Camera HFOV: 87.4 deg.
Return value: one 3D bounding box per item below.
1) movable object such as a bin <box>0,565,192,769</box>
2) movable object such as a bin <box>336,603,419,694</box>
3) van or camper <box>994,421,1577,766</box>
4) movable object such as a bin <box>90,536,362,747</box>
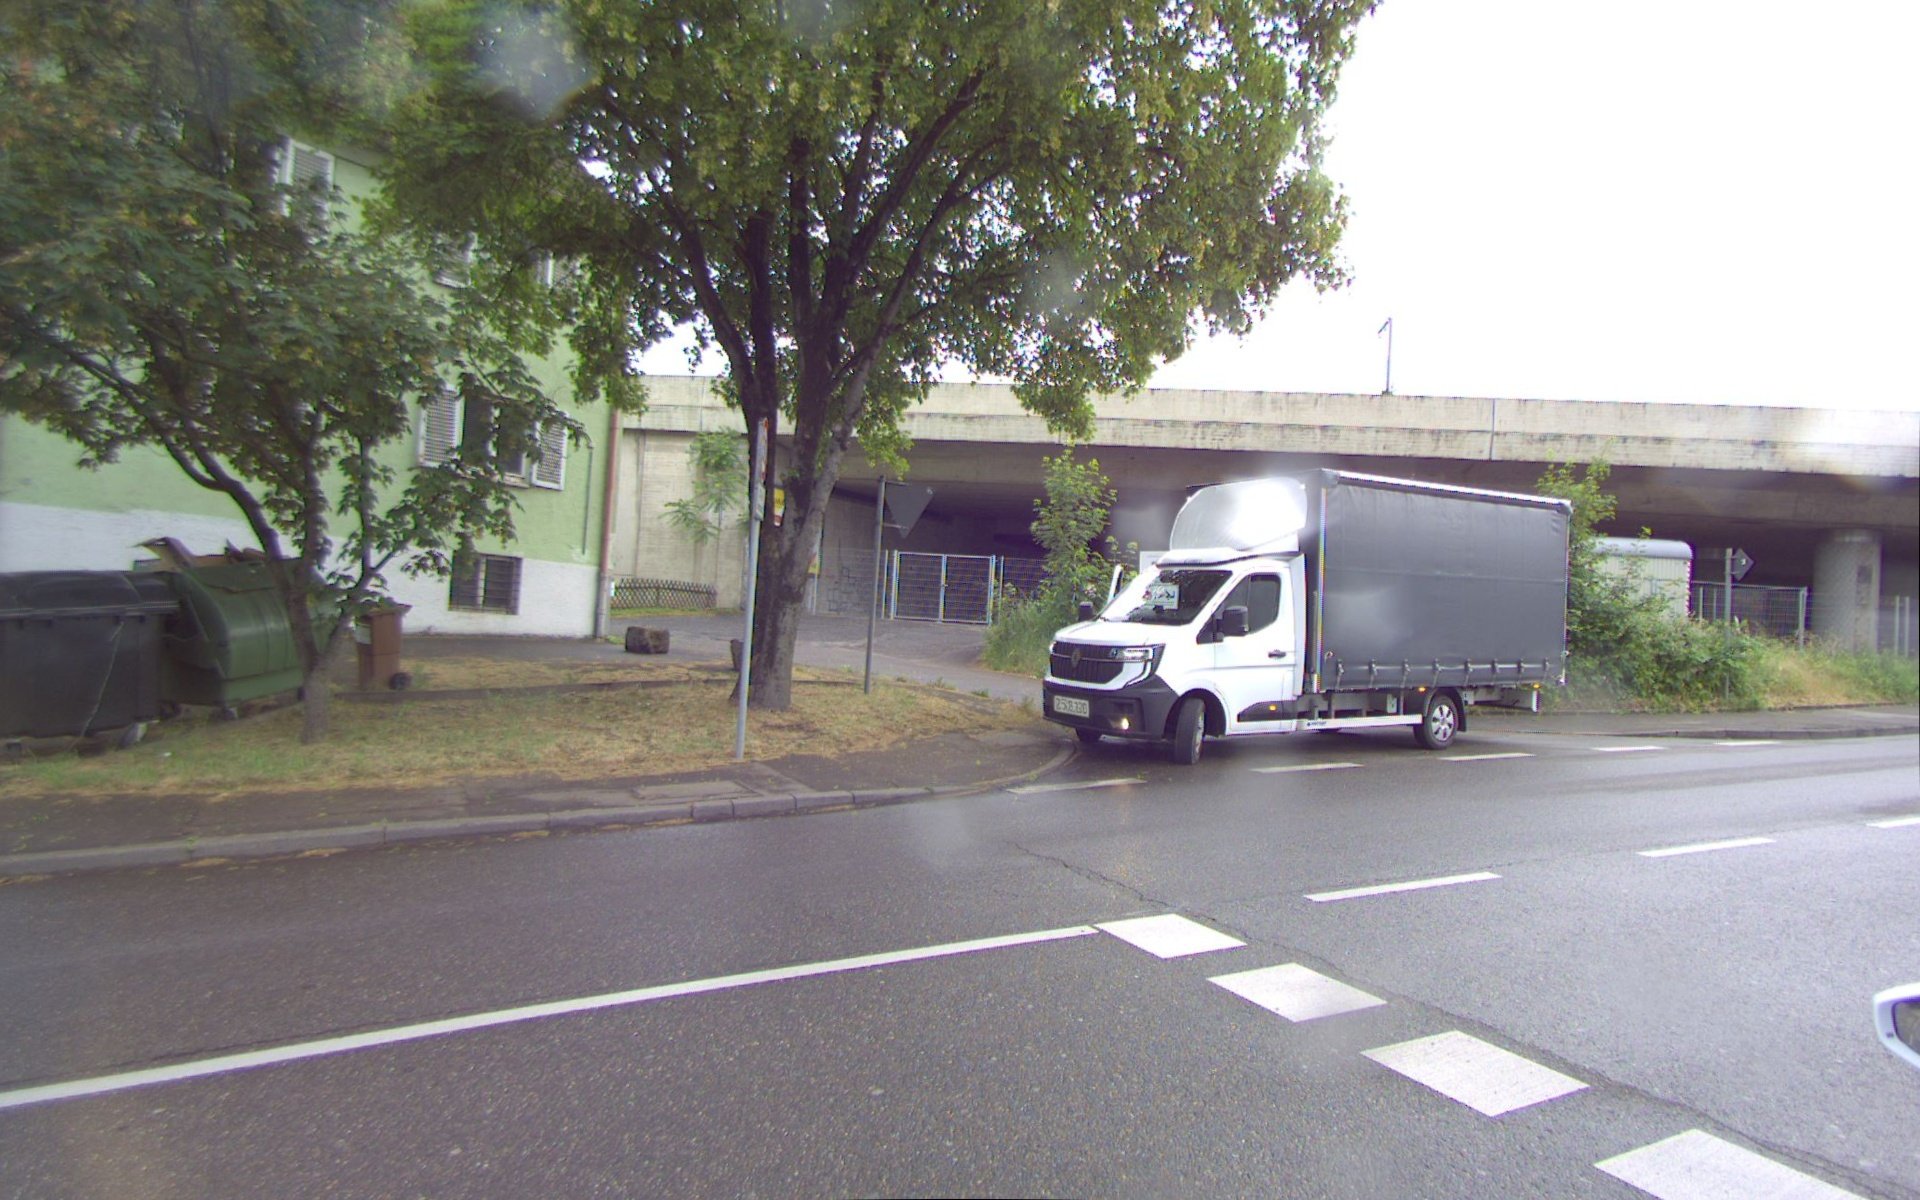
[{"bbox_3d":[-7.385,0.459,8.066,1.444,1.460,1.376,2,2,22],"label":"movable object such as a bin"},{"bbox_3d":[-6.316,0.513,10.902,0.531,0.922,0.562,2,2,22],"label":"movable object such as a bin"},{"bbox_3d":[4.426,0.055,12.957,7.670,3.379,2.686,2,-1,-30],"label":"van or camper"},{"bbox_3d":[-6.869,0.317,9.474,1.547,1.785,1.453,2,2,22],"label":"movable object such as a bin"}]
